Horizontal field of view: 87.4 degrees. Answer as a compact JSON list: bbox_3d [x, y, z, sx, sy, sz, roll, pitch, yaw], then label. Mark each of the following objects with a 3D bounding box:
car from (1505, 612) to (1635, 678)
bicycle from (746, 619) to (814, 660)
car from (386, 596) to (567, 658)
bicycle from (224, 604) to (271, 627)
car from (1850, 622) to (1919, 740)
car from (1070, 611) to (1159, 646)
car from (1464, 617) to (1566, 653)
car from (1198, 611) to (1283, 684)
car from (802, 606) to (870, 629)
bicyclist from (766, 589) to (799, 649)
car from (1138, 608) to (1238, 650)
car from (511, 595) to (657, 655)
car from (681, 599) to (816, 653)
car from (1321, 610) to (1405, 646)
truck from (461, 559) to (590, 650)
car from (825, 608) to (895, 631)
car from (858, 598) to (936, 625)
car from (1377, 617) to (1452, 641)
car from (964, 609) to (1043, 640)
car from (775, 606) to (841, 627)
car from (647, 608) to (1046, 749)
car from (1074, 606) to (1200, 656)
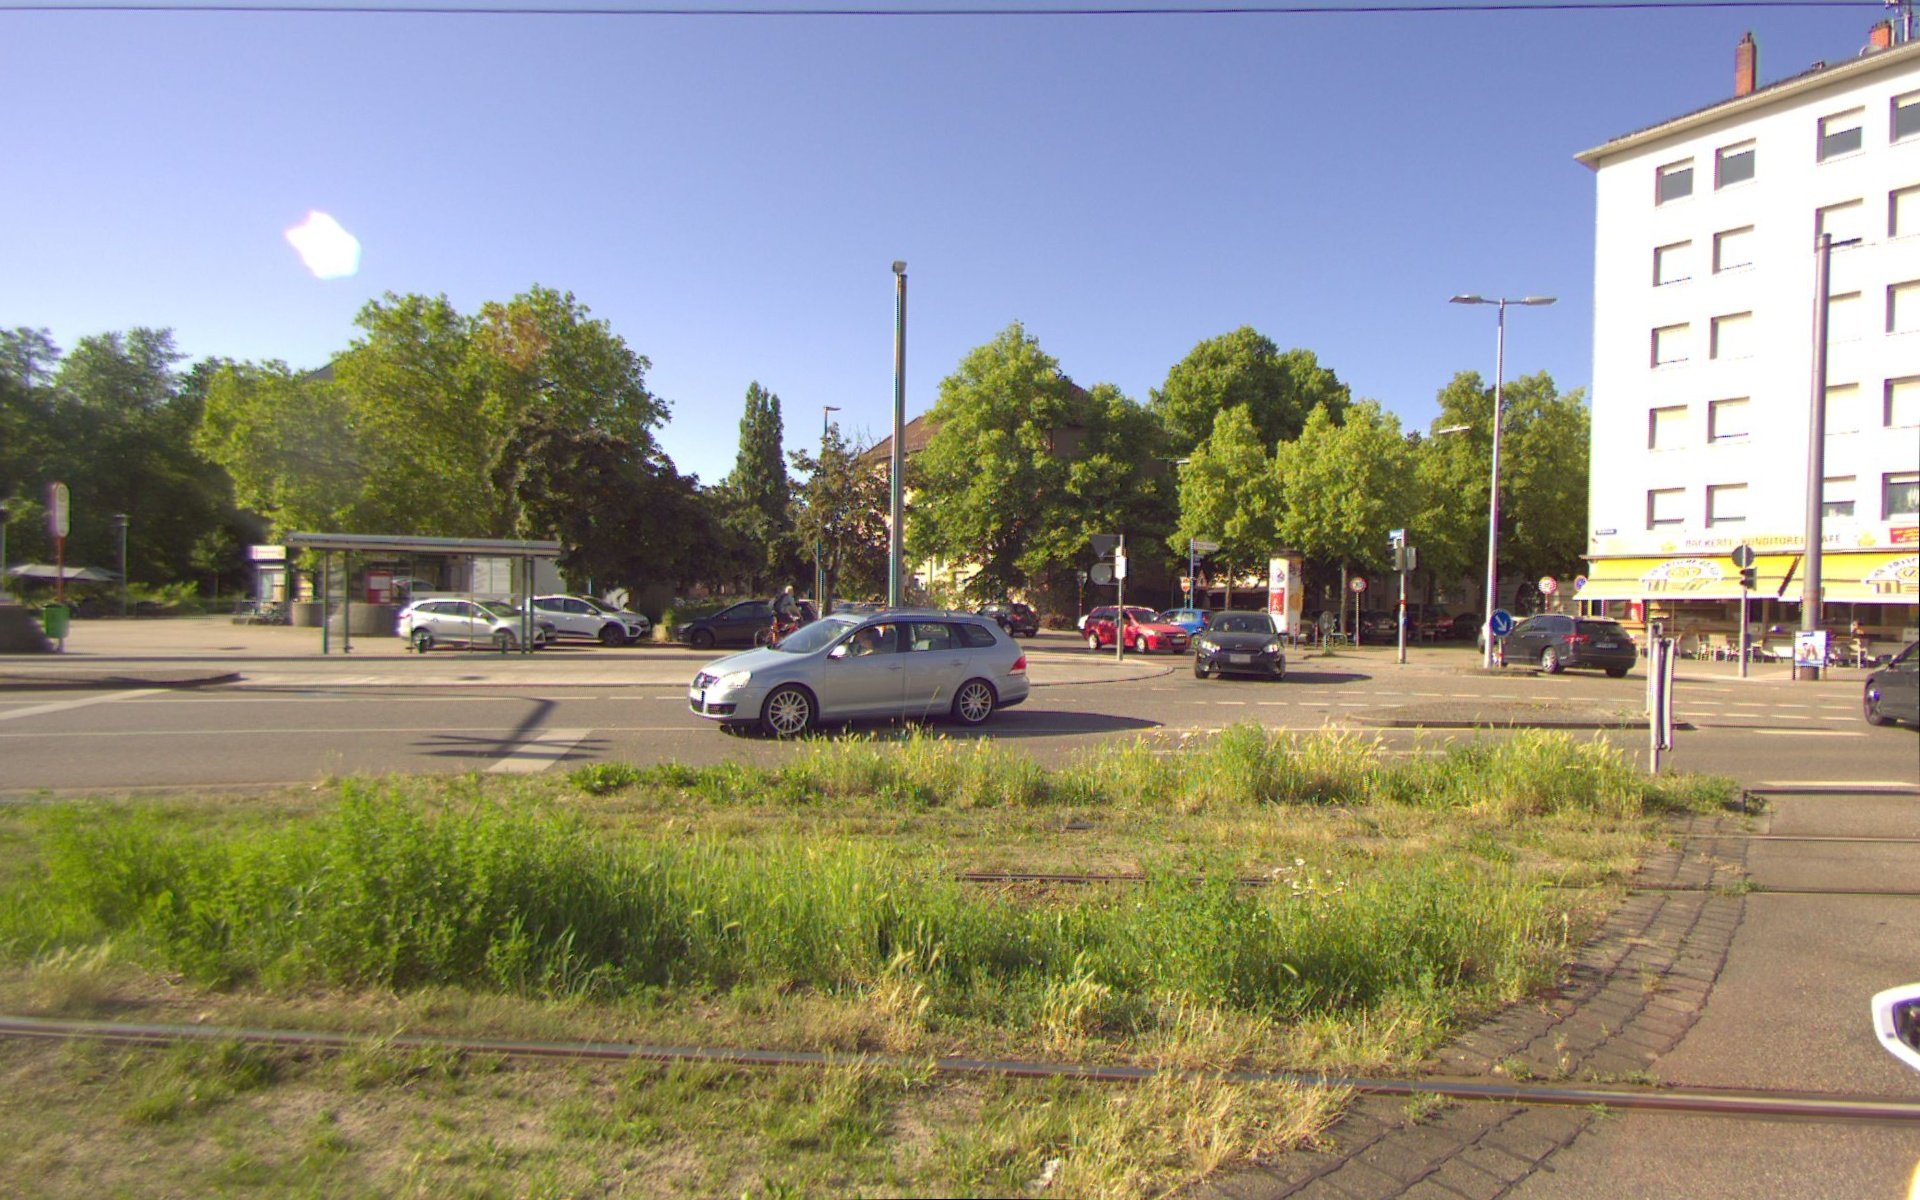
[{"bbox_3d":[15.673,1.097,26.046,1.730,1.506,4.295,1,0,15],"label":"car"},{"bbox_3d":[-4.723,1.027,26.390,1.641,1.015,0.608,0,2,-34],"label":"bicycle"},{"bbox_3d":[-13.975,0.751,29.128,4.457,1.565,1.873,1,3,10],"label":"car"},{"bbox_3d":[-27.948,0.610,39.393,1.651,0.850,0.548,1,0,14],"label":"bicycle"},{"bbox_3d":[13.136,1.046,12.994,1.597,1.448,3.683,1,0,28],"label":"car"},{"bbox_3d":[7.633,1.386,49.599,4.177,1.639,1.751,1,1,-31],"label":"car"},{"bbox_3d":[22.311,1.377,40.338,3.958,1.327,1.982,1,0,-34],"label":"car"},{"bbox_3d":[6.159,0.979,22.293,1.631,1.410,4.152,1,0,14],"label":"car"},{"bbox_3d":[-7.886,1.090,64.070,3.919,1.356,1.807,1,0,9],"label":"car"},{"bbox_3d":[-4.674,0.492,26.410,0.669,1.551,0.608,-1,2,-34],"label":"bicyclist"},{"bbox_3d":[8.486,1.060,37.560,1.638,1.457,3.355,1,0,-41],"label":"car"},{"bbox_3d":[-11.695,0.752,31.474,3.925,1.741,1.761,0,3,-6],"label":"car"},{"bbox_3d":[-6.471,0.773,30.954,3.937,1.509,1.759,0,3,-11],"label":"car"},{"bbox_3d":[18.786,1.271,46.891,1.656,1.623,3.269,1,0,-39],"label":"car"},{"bbox_3d":[-15.556,0.140,36.303,1.959,3.035,4.831,1,0,9],"label":"truck"},{"bbox_3d":[-6.082,1.181,61.358,3.919,1.356,1.807,1,0,9],"label":"car"},{"bbox_3d":[-3.450,0.641,55.269,3.967,1.460,1.896,1,0,-40],"label":"car"},{"bbox_3d":[24.622,1.577,54.549,3.373,1.206,1.669,1,0,9],"label":"car"},{"bbox_3d":[1.933,1.092,45.271,1.681,1.270,3.587,1,0,-37],"label":"car"},{"bbox_3d":[-10.091,1.085,66.735,3.919,1.356,1.807,1,0,9],"label":"car"},{"bbox_3d":[-1.344,0.870,12.857,4.829,1.461,1.719,0,2,-33],"label":"car"},{"bbox_3d":[5.829,0.975,33.660,1.734,1.508,4.509,1,0,-29],"label":"car"}]
